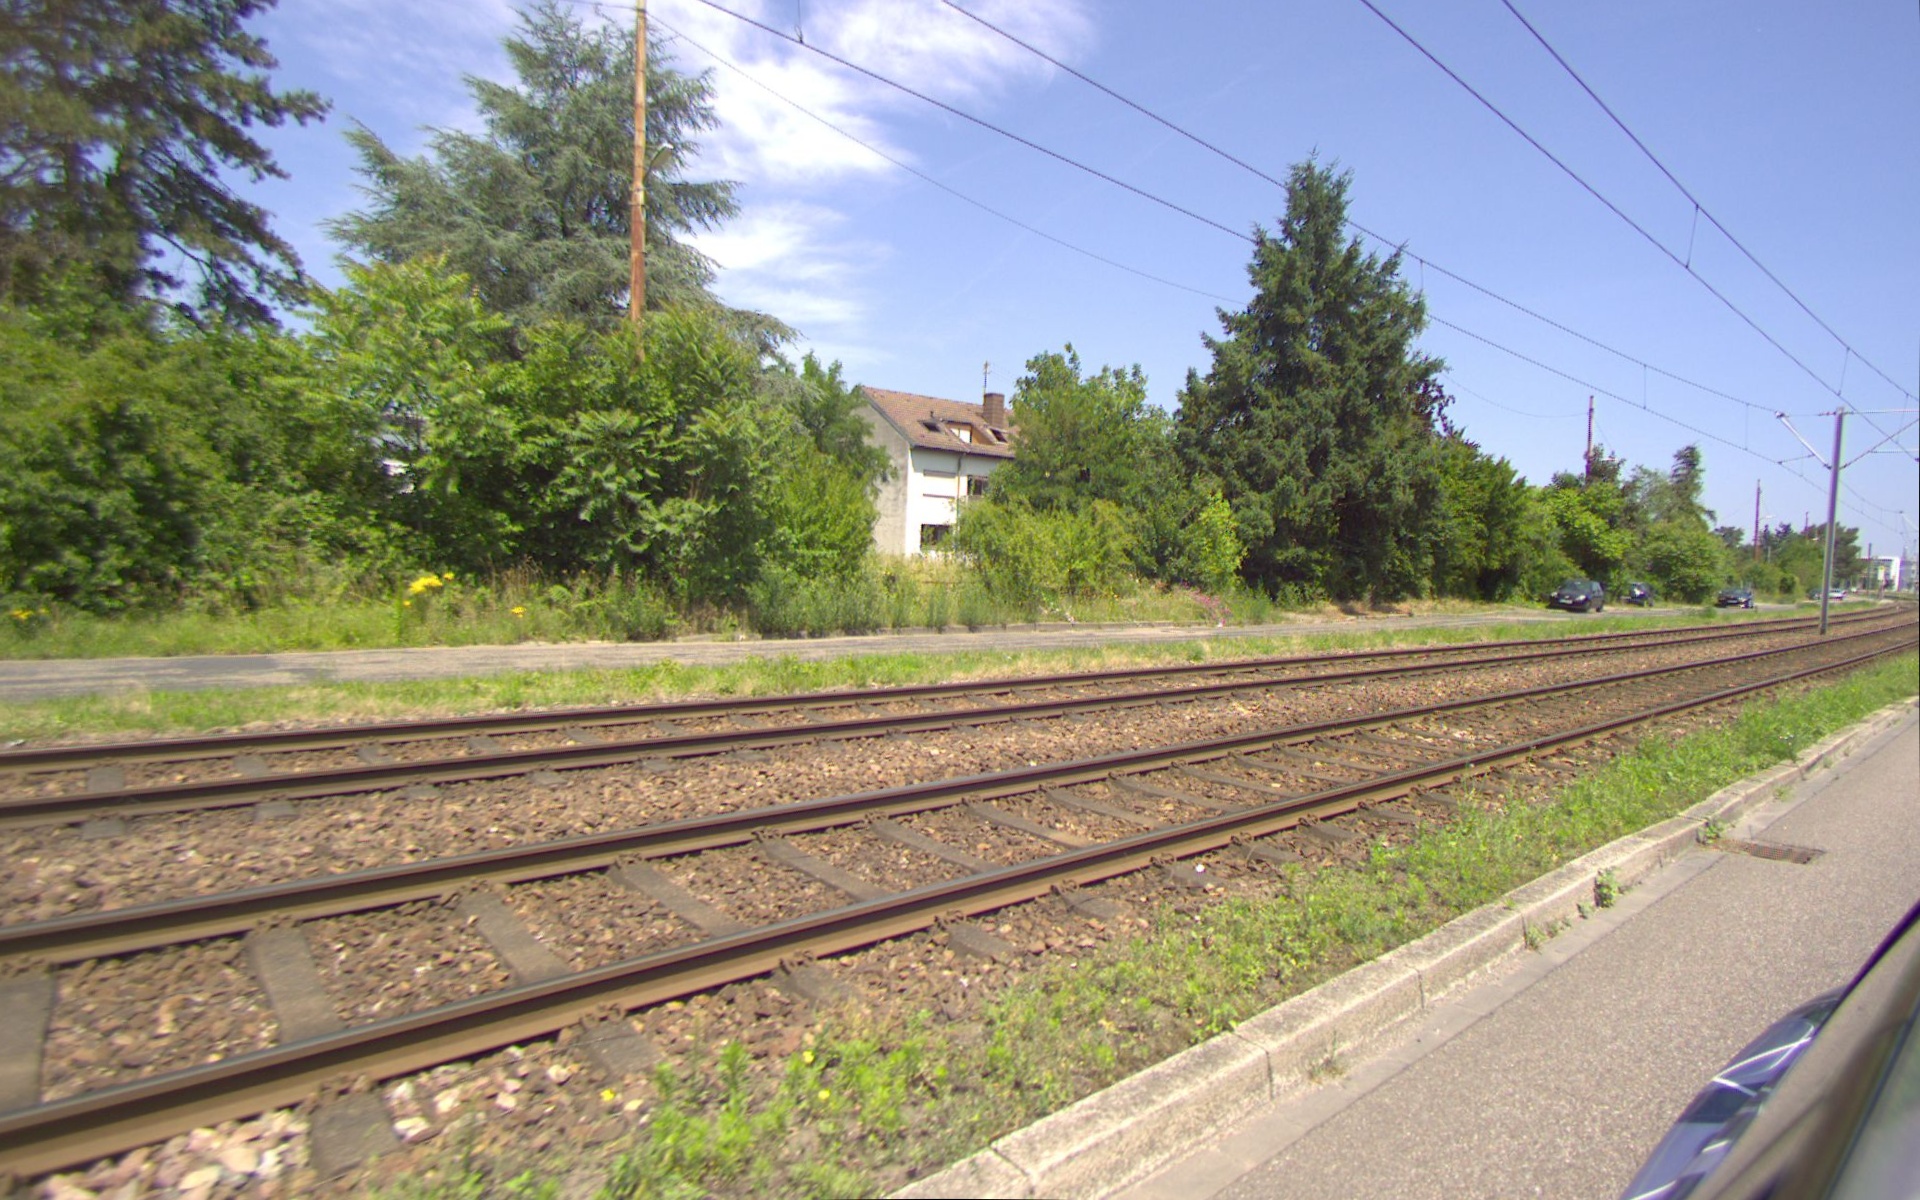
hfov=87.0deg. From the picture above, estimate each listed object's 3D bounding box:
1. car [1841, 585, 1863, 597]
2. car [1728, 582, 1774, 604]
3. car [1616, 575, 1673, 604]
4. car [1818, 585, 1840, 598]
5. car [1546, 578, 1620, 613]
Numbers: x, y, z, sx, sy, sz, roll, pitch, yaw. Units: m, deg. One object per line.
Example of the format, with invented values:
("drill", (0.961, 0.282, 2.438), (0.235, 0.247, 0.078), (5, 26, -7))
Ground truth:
("car", (114.629, -1.138, 130.085), (1.939, 1.439, 3.938), (3, 3, 43))
("car", (52.732, -0.495, 67.410), (1.862, 1.346, 4.442), (3, 3, 45))
("car", (40.256, -0.644, 59.463), (1.936, 1.580, 4.483), (3, 3, 45))
("car", (101.052, -0.994, 117.689), (1.620, 1.439, 4.796), (3, 3, 44))
("car", (28.844, -0.231, 46.832), (3.932, 1.488, 1.917), (-1, 3, -43))
